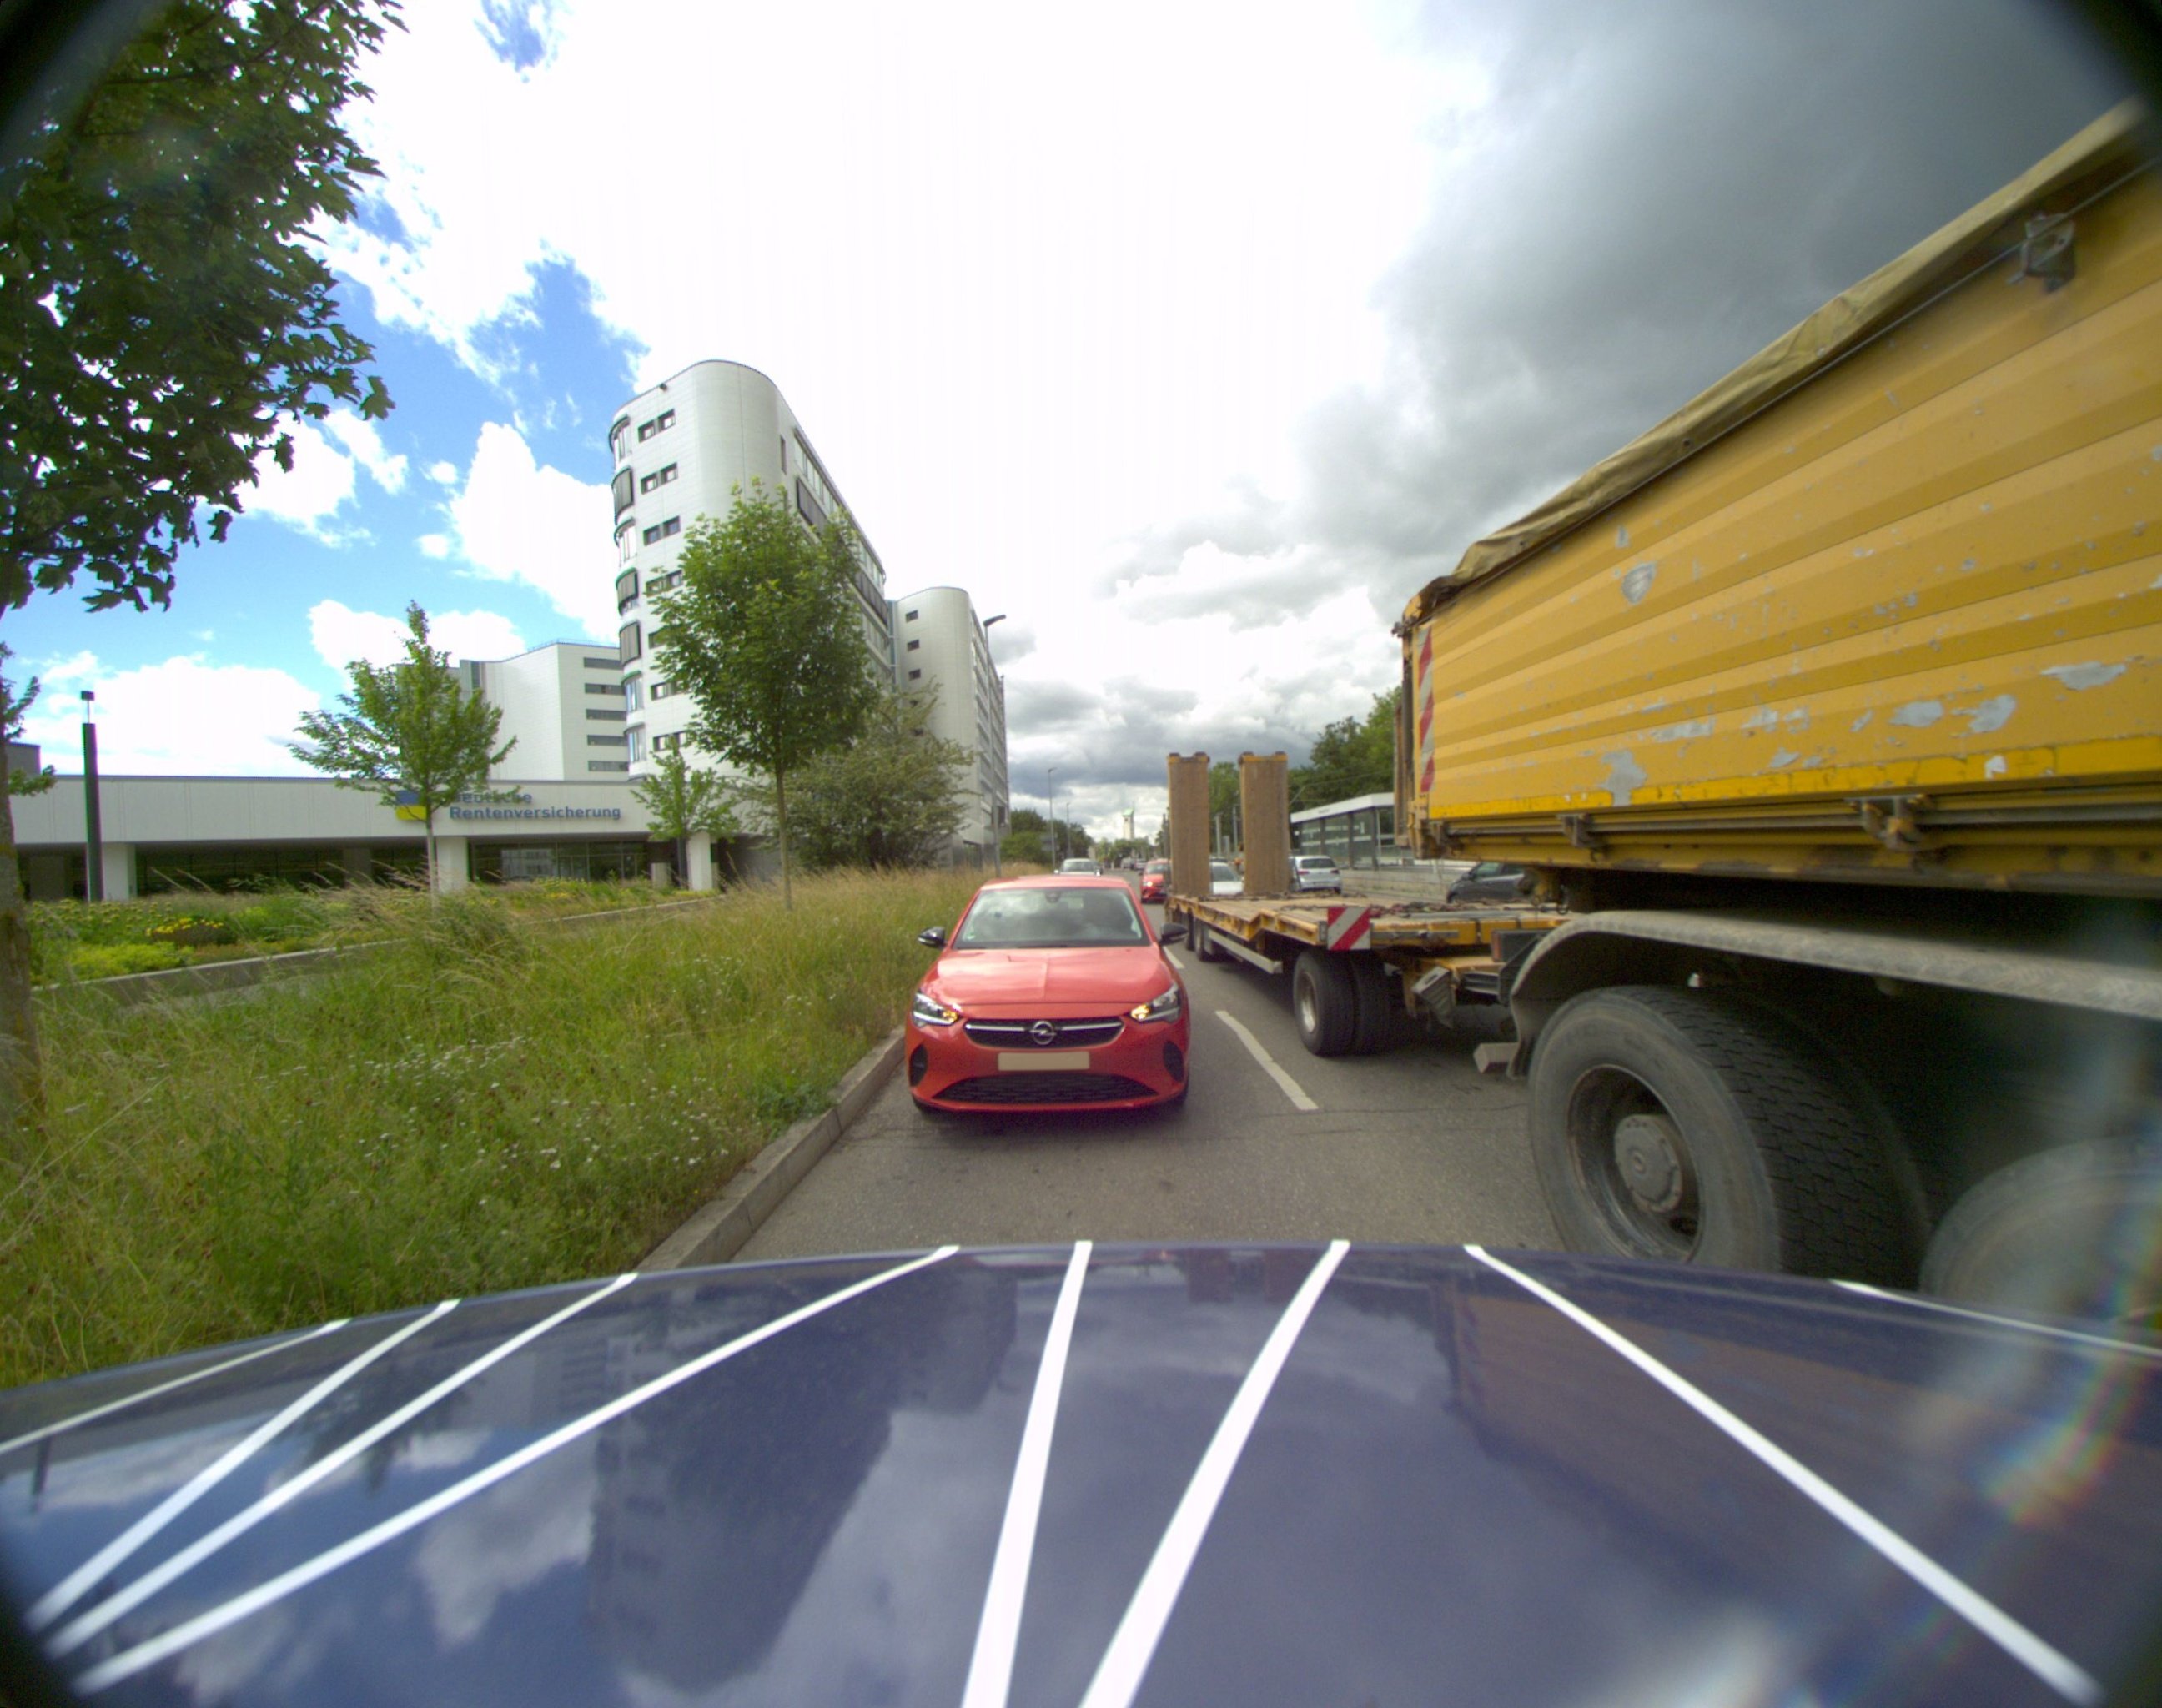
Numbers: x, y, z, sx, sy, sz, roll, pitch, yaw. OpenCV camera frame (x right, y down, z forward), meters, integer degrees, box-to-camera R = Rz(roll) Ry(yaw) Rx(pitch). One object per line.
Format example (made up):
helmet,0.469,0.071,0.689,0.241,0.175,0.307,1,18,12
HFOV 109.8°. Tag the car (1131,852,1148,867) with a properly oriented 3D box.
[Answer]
car,7.873,0.740,102.449,1.998,2.002,4.000,-2,0,1

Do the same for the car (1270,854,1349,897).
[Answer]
car,8.362,0.735,28.186,1.766,1.432,4.279,-2,0,2

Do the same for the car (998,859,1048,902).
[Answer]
car,-2.281,1.011,30.652,1.738,1.565,3.445,-2,0,0

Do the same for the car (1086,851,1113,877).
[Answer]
car,1.453,0.793,61.122,1.998,2.002,4.000,-2,0,1

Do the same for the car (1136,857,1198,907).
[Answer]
car,2.868,0.902,26.123,1.692,1.471,3.999,-2,1,1

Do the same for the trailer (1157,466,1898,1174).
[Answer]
trailer,2.817,-0.160,9.325,2.713,3.501,10.914,-2,0,1

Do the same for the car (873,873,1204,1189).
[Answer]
car,-0.196,0.992,6.014,1.692,1.471,3.999,-2,1,1

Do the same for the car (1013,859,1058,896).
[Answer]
car,-2.135,1.066,36.488,1.850,1.565,4.623,-2,0,0

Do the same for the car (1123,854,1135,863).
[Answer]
car,8.482,0.797,134.036,1.770,1.489,3.554,-2,0,1

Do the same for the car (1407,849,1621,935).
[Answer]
car,8.497,0.678,15.397,1.782,1.460,4.042,-2,0,-4

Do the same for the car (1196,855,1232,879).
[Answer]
car,8.548,0.802,49.173,1.705,1.449,3.566,-2,0,1

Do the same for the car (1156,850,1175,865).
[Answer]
car,8.993,0.393,81.324,1.644,1.489,3.554,-2,0,1

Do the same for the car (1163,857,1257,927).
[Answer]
car,3.152,0.876,19.292,1.692,1.471,3.999,-2,1,1

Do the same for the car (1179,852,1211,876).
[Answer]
car,9.230,0.795,61.725,1.887,1.761,4.864,-2,0,1

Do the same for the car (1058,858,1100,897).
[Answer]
car,-0.086,0.999,33.571,1.738,1.565,3.445,-2,0,0
